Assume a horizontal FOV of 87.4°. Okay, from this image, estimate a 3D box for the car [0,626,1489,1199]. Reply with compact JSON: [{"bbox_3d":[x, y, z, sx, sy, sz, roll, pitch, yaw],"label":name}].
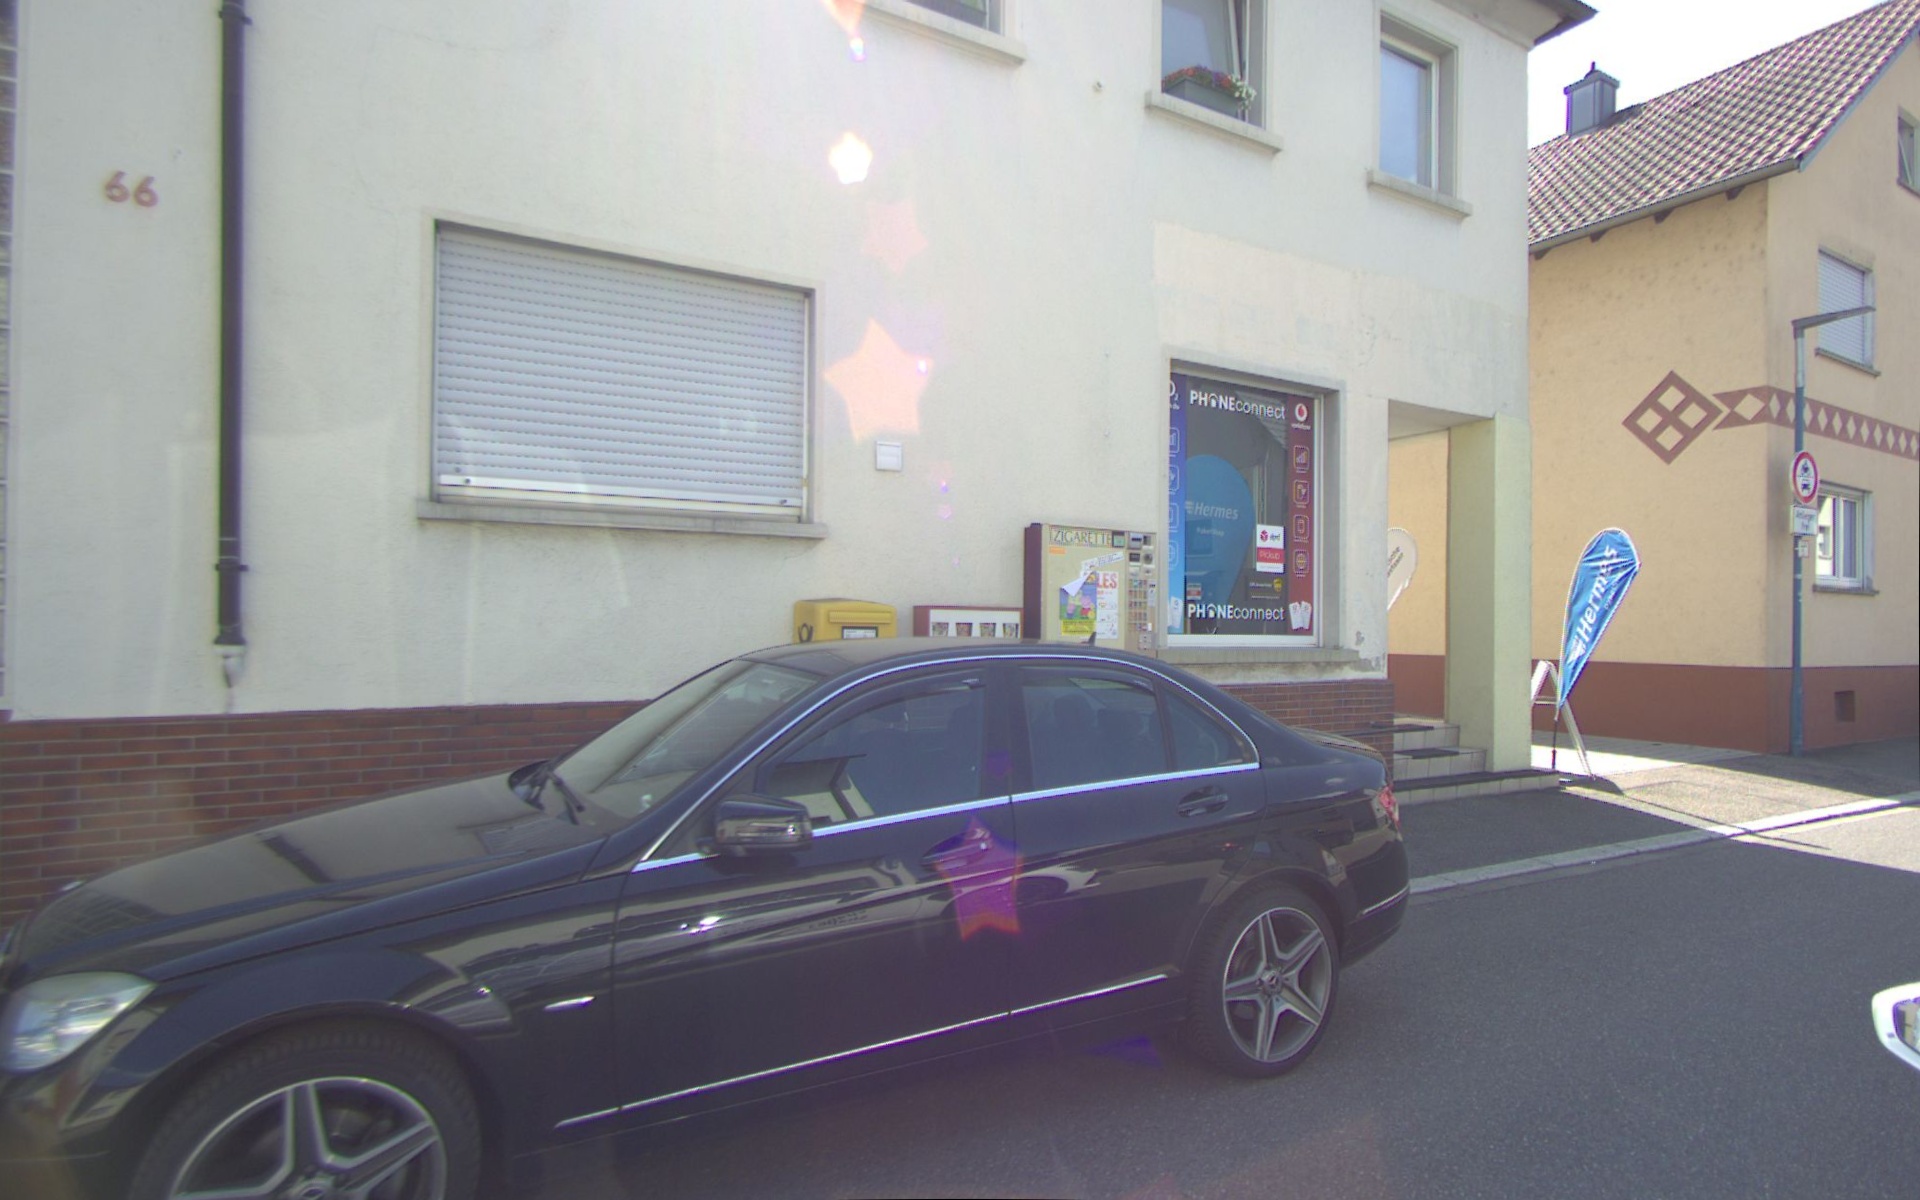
[{"bbox_3d":[-0.281,0.829,3.509,4.336,1.430,1.690,1,-1,-29],"label":"car"}]
